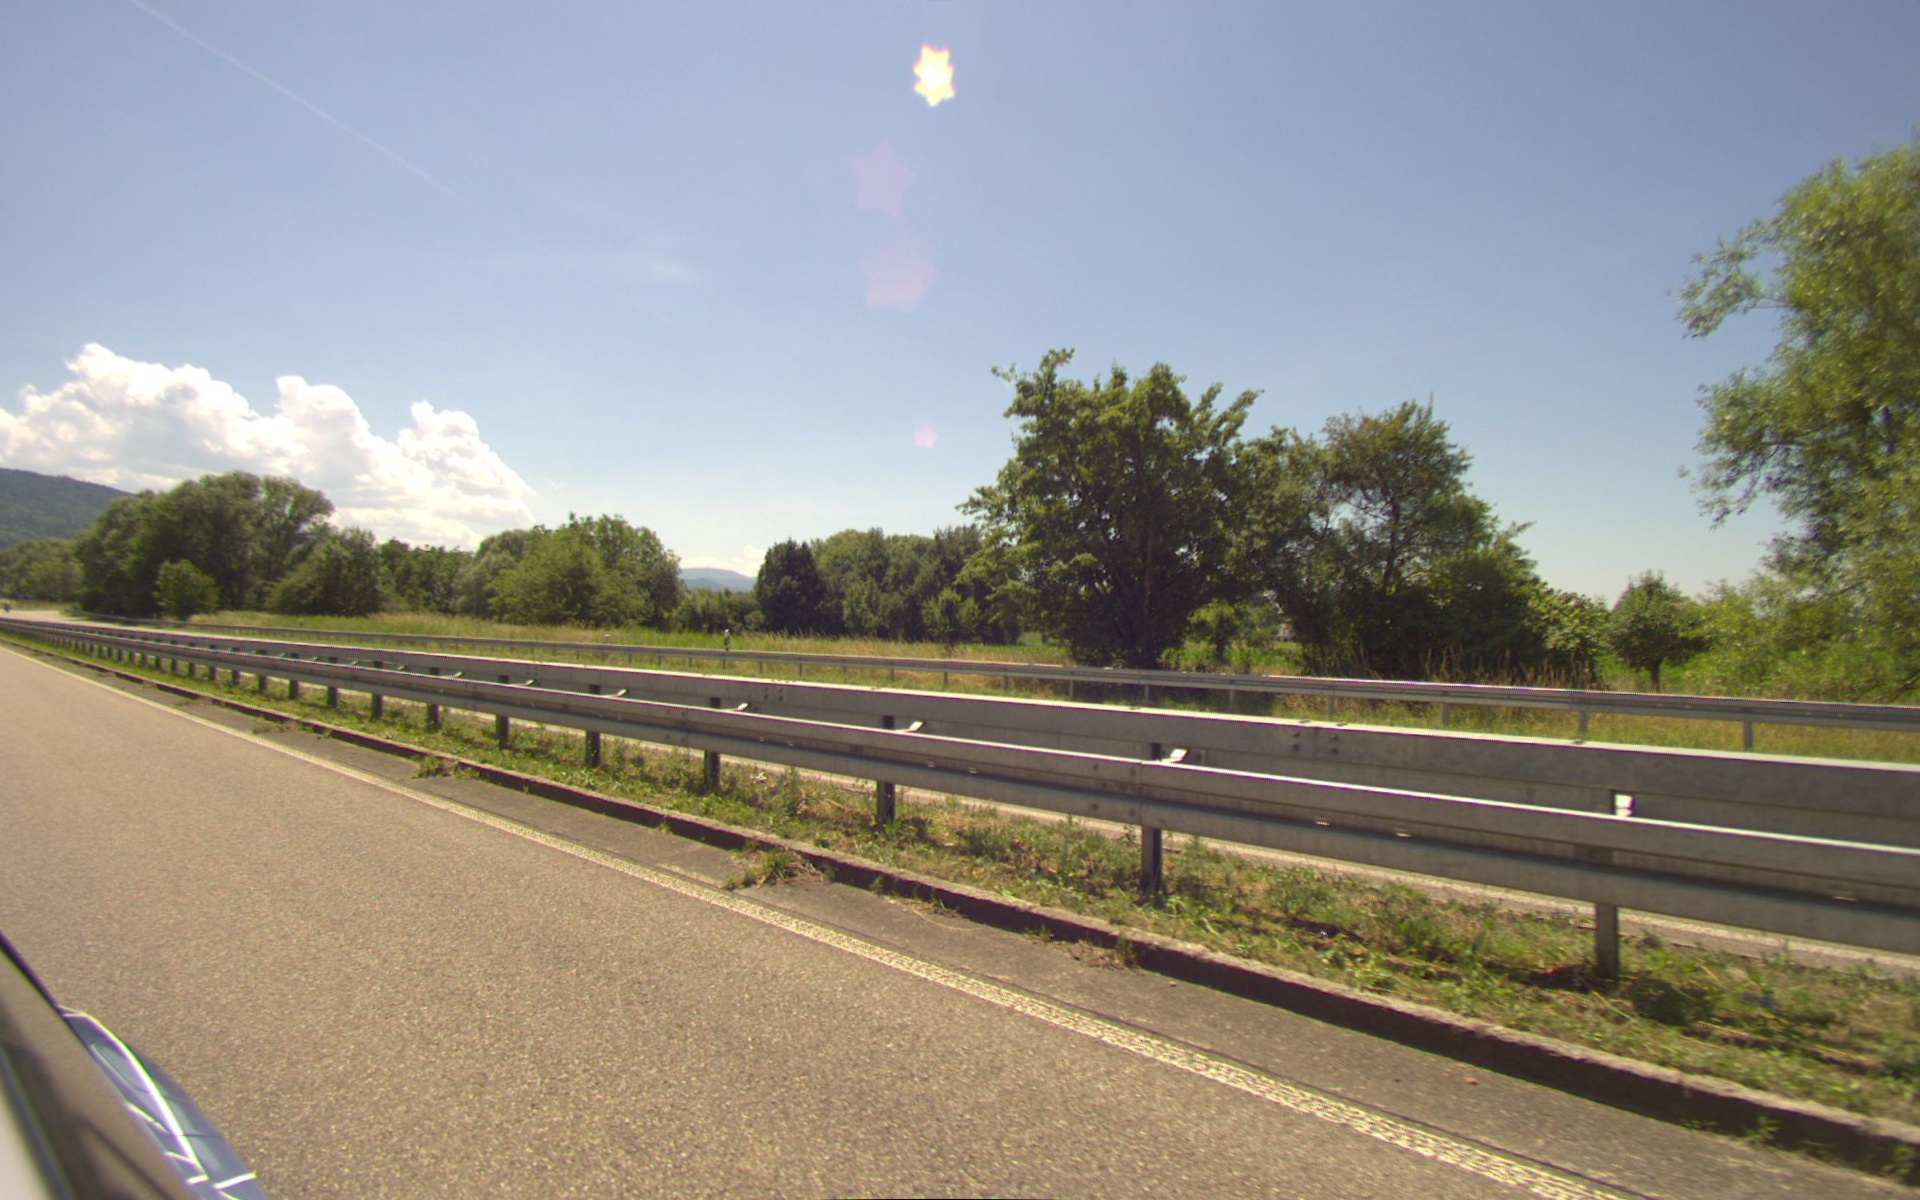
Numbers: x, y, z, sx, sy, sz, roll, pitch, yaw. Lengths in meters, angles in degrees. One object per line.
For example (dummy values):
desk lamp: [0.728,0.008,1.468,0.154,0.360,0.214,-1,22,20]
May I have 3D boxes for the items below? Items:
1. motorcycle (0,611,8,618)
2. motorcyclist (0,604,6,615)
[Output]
motorcycle: [-145.028,2.208,153.177,3.818,1.072,1.052,-1,-2,43]
motorcyclist: [-145.264,1.413,153.265,0.809,1.629,0.935,-1,-2,42]
